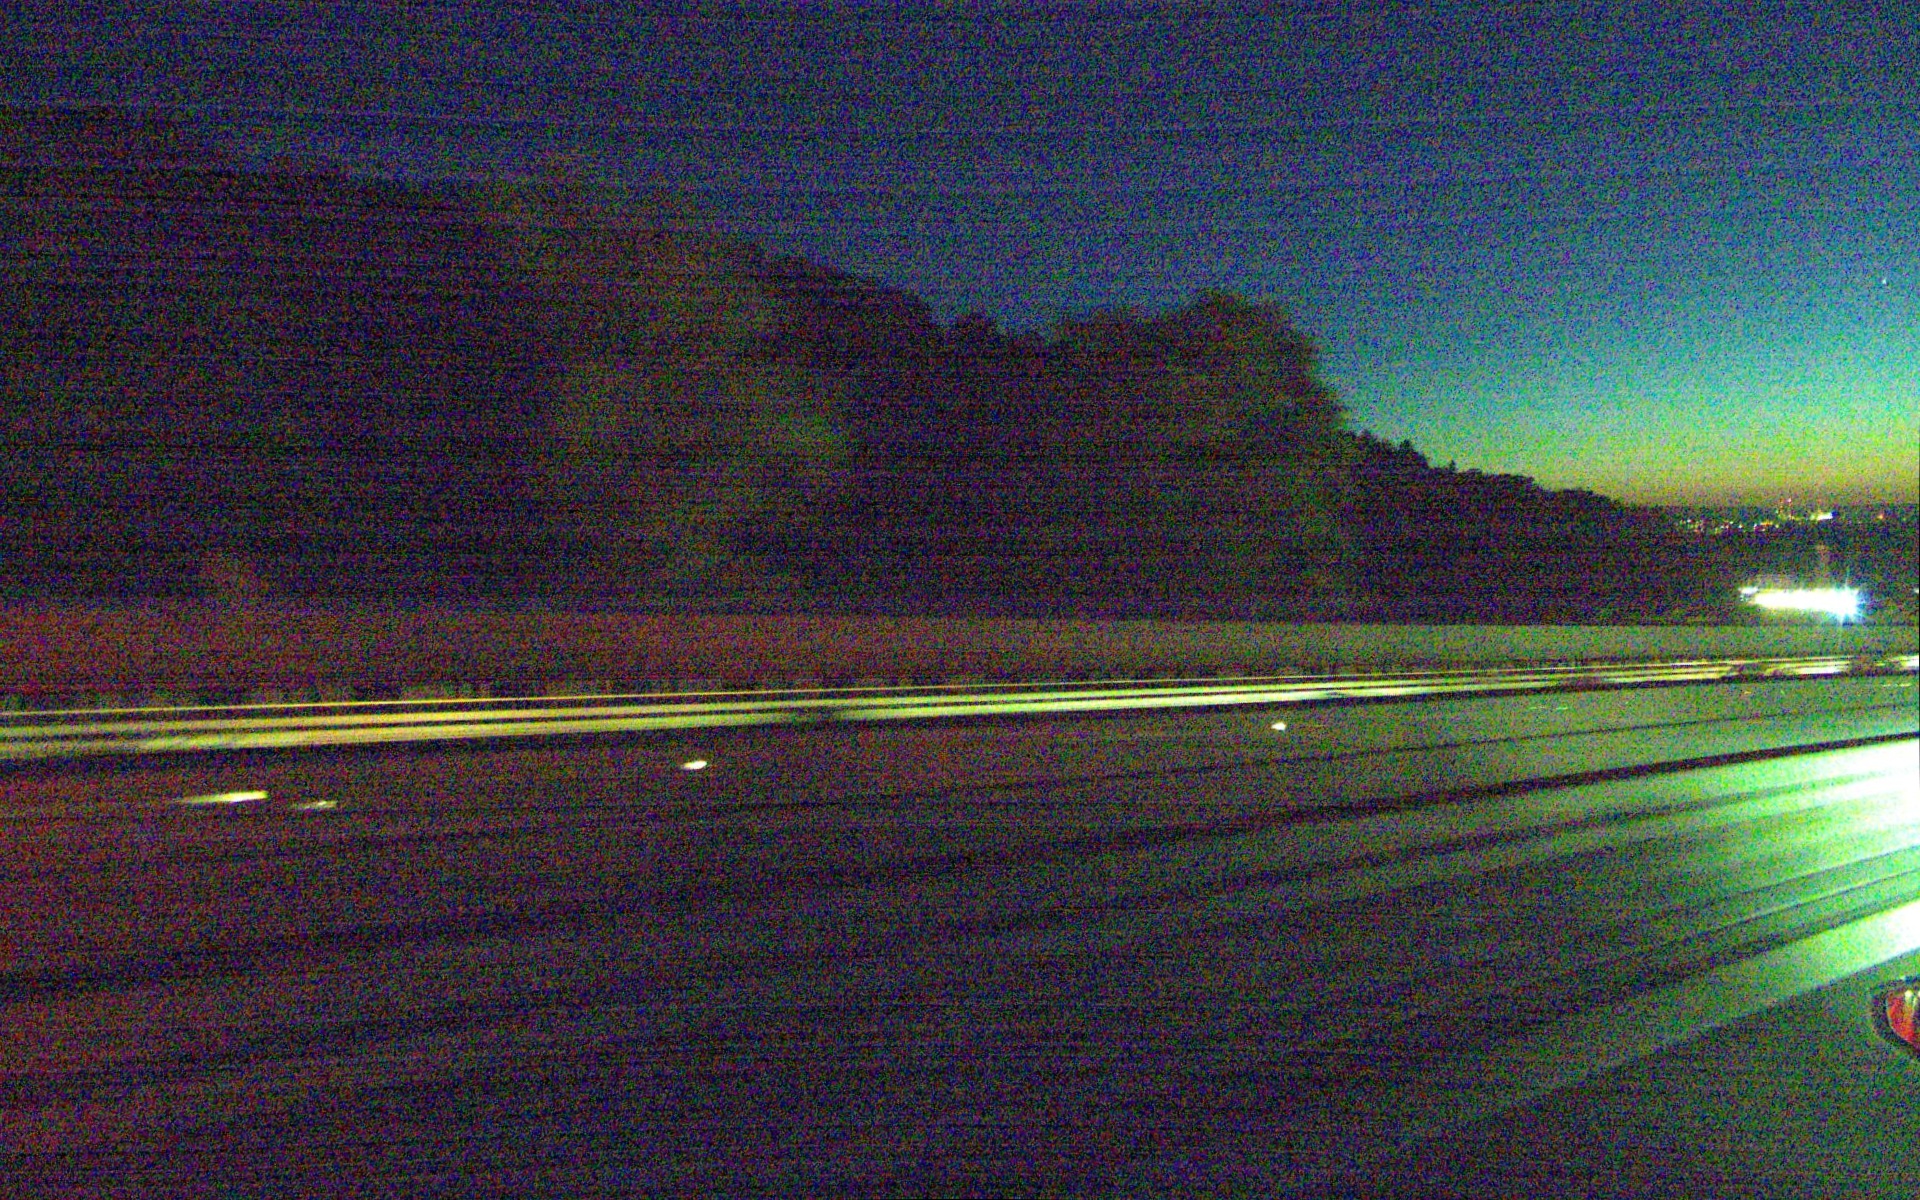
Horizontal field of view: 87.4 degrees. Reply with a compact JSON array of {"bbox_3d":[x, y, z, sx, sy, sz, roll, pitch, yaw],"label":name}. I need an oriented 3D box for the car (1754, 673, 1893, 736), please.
[{"bbox_3d":[24.669,2.908,28.662,4.663,1.473,1.891,1,-1,-34],"label":"car"}]

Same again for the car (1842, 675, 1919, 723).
[{"bbox_3d":[38.656,4.115,42.033,3.959,1.739,1.742,1,-1,-34],"label":"car"}]

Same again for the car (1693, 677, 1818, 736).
[{"bbox_3d":[27.214,3.580,34.314,4.871,1.656,2.061,1,-1,-35],"label":"car"}]

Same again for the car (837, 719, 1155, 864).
[{"bbox_3d":[0.494,2.467,13.596,3.947,1.435,1.795,1,-2,-26],"label":"car"}]

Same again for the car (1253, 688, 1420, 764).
[{"bbox_3d":[8.886,2.889,23.611,3.958,1.416,1.688,1,-1,-34],"label":"car"}]

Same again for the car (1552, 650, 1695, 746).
[{"bbox_3d":[15.466,2.202,23.406,3.292,2.040,1.611,1,-3,-34],"label":"car"}]

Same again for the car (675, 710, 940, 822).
[{"bbox_3d":[-2.461,2.604,16.319,3.946,1.395,1.701,1,-2,-26],"label":"car"}]

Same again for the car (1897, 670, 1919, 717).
[{"bbox_3d":[33.915,3.180,34.290,4.663,1.473,1.891,1,-1,-34],"label":"car"}]

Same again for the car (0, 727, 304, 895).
[{"bbox_3d":[-10.469,2.475,12.075,4.086,1.569,1.987,1,-2,-27],"label":"car"}]

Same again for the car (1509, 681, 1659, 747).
[{"bbox_3d":[17.540,3.121,28.158,4.663,1.473,1.891,1,-1,-34],"label":"car"}]

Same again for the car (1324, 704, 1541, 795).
[{"bbox_3d":[8.882,2.727,18.845,3.952,1.320,1.712,1,-3,-29],"label":"car"}]
